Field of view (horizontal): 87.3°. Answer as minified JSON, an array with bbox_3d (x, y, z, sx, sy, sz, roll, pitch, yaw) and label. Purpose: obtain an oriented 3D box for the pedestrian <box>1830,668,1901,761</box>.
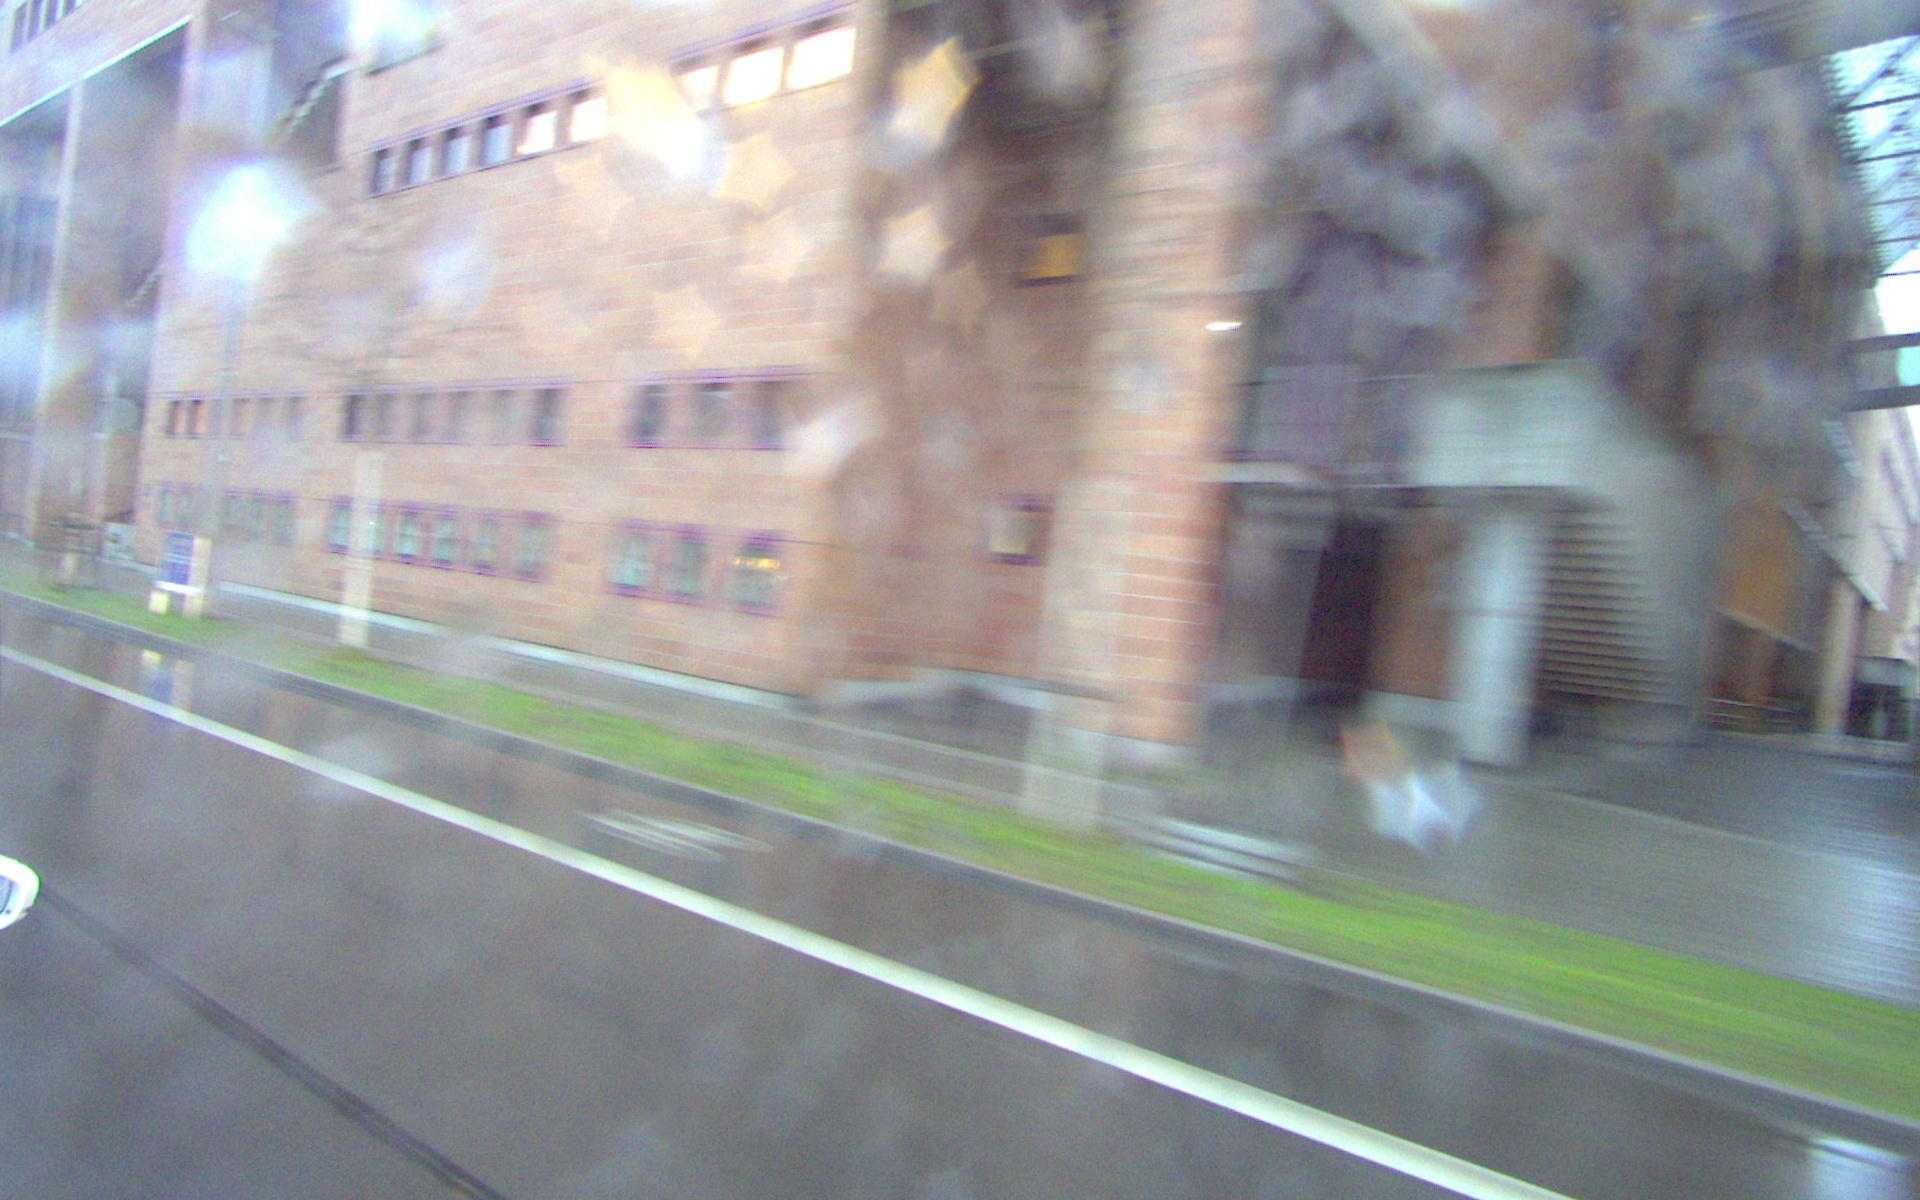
[{"bbox_3d":[19.158,2.414,21.281,0.823,1.796,0.902,6,1,-44],"label":"pedestrian"}]
